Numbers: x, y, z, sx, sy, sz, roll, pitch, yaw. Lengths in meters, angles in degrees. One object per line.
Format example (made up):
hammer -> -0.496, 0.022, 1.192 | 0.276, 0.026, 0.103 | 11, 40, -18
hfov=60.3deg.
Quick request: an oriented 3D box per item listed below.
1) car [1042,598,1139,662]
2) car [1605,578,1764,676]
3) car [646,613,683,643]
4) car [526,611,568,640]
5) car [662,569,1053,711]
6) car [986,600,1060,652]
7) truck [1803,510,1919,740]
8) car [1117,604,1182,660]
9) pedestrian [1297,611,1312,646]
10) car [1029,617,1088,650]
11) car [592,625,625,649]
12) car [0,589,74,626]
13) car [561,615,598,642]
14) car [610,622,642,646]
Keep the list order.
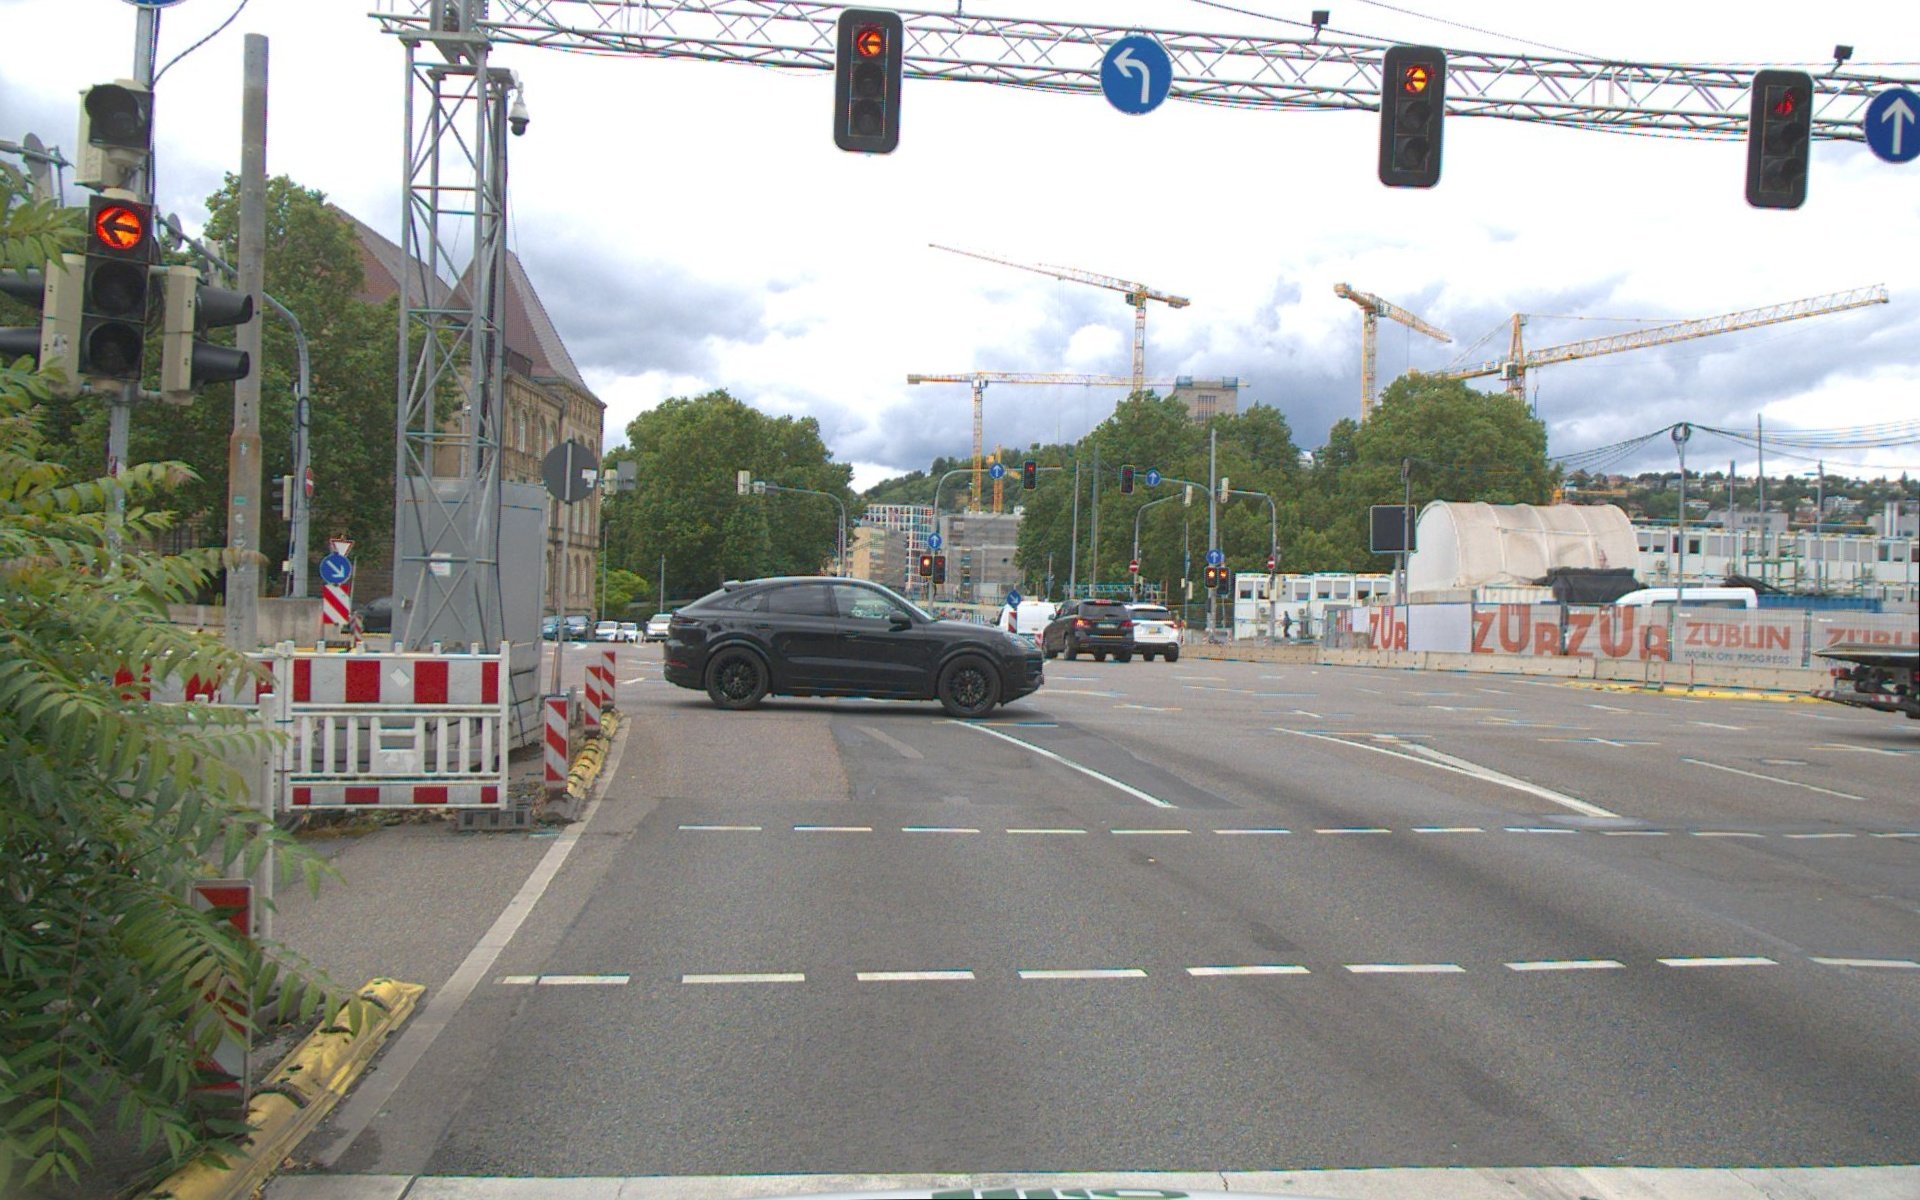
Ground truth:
car -> 3.780, 0.844, 48.527 | 1.799, 1.776, 4.245 | 1, 0, -10
car -> 20.824, 0.749, 47.677 | 3.902, 2.708, 1.683 | 1, 0, 13
car -> -15.251, 1.430, 85.378 | 1.644, 1.422, 3.677 | 1, 0, -7
car -> -21.472, 1.325, 86.144 | 1.644, 1.422, 3.677 | 1, 0, -7
car -> -1.312, 0.496, 21.090 | 4.715, 1.653, 2.018 | 1, 0, -6
car -> 2.082, 0.854, 55.548 | 1.783, 1.653, 3.993 | 1, 0, -8
truck -> 16.262, 0.413, 22.013 | 8.800, 2.852, 2.626 | 1, 0, -2
car -> 6.043, 1.001, 53.126 | 1.642, 1.732, 3.374 | 1, 0, -1
pedestrian -> 17.540, 1.441, 84.145 | 0.519, 1.778, 0.465 | 1, 0, -25
car -> 4.516, 1.516, 76.036 | 1.650, 1.422, 3.070 | 1, 0, -19
car -> -21.448, 2.250, 101.025 | 1.644, 1.422, 3.677 | 1, 0, -7
car -> -33.448, 0.251, 58.374 | 3.552, 1.276, 1.672 | 1, 0, -19
car -> -21.279, 1.591, 92.574 | 1.644, 1.422, 3.677 | 1, 0, -7
car -> -21.580, 2.234, 107.060 | 1.643, 1.423, 3.677 | 1, -3, -6
